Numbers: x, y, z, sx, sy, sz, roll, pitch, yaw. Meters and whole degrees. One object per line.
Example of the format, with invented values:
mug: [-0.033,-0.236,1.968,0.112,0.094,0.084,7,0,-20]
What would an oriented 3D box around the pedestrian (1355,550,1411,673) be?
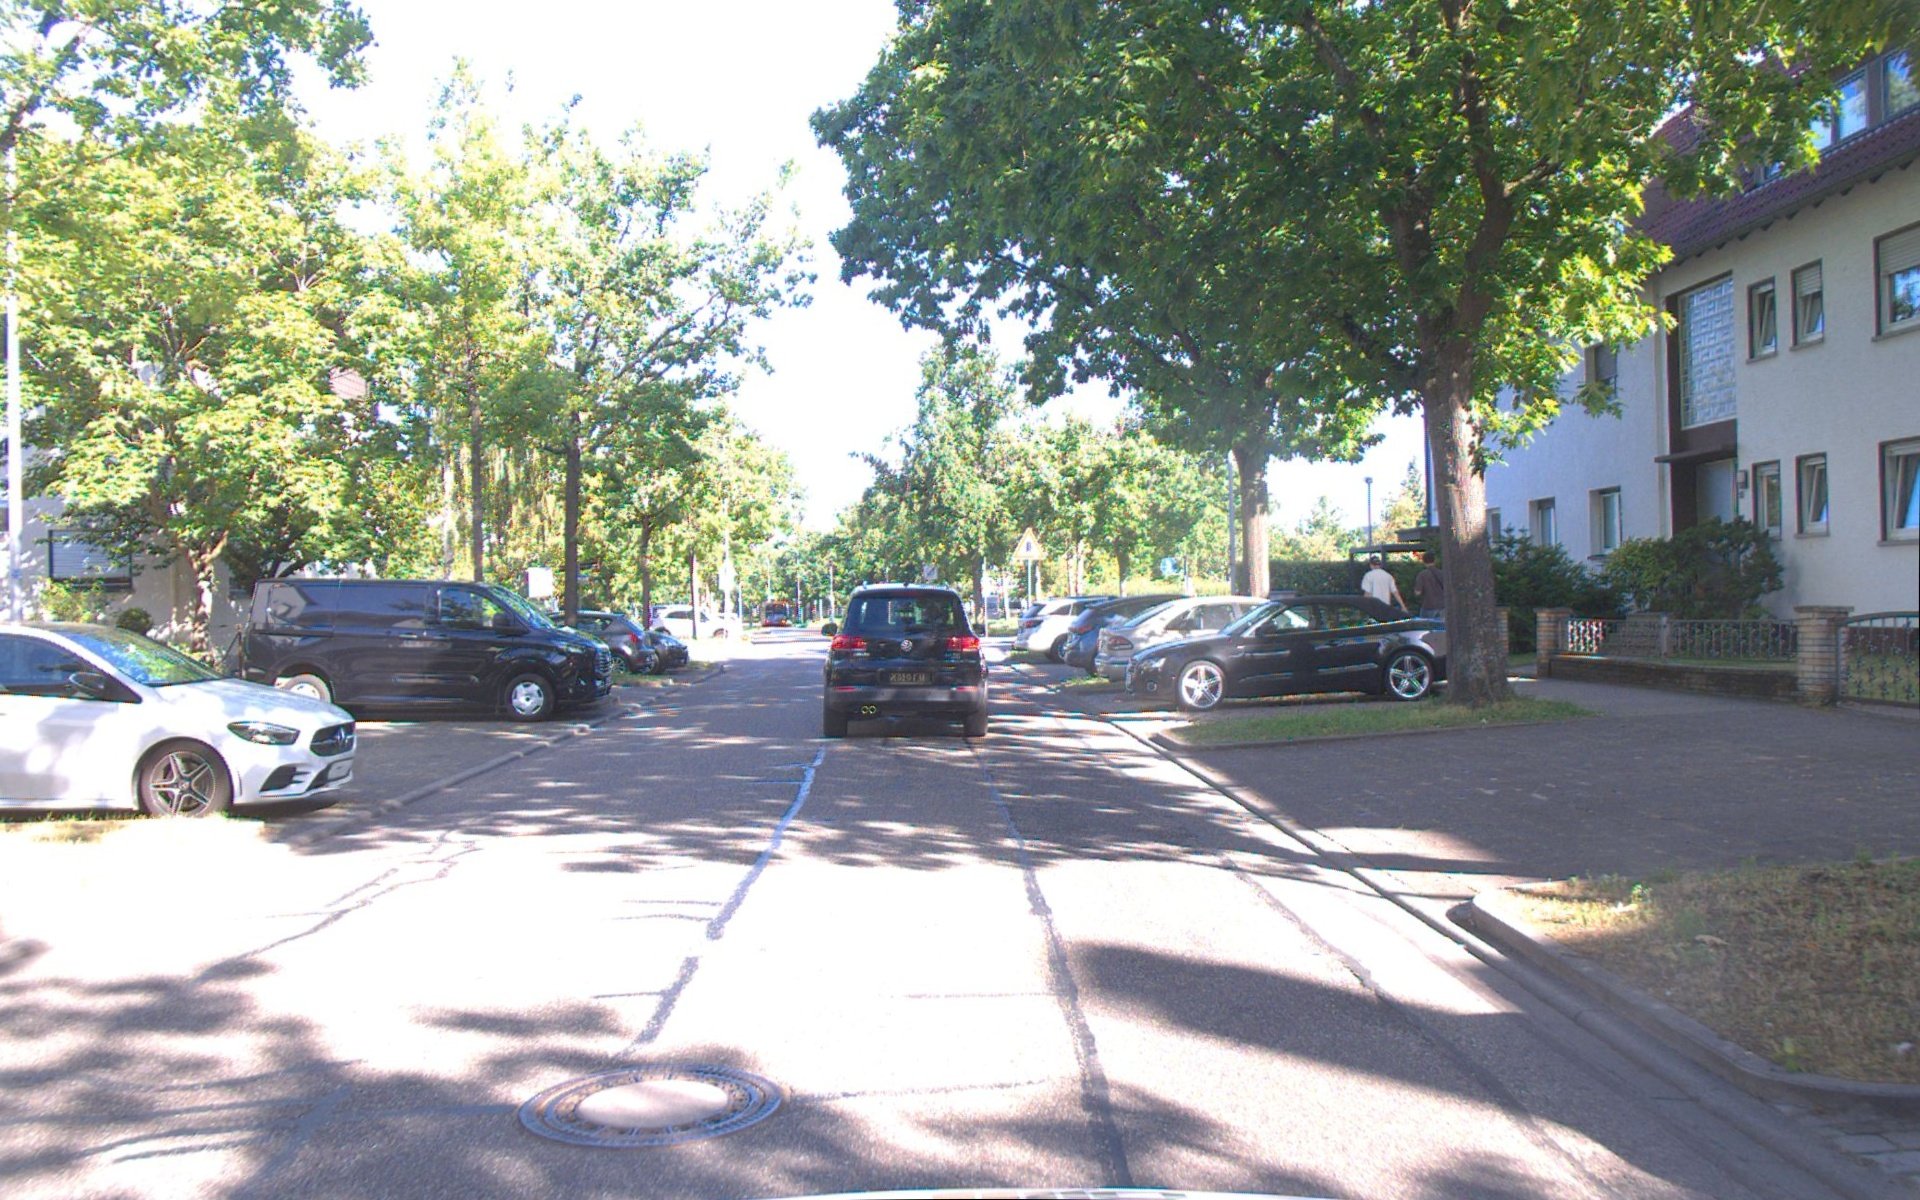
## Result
pedestrian: [6.741,0.187,26.381,0.595,1.906,0.924,-2,-1,0]

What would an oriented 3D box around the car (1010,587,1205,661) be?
car: [3.389,0.554,38.595,4.339,1.517,1.796,-2,0,-1]

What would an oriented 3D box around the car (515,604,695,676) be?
car: [-8.238,0.921,38.608,3.779,1.484,1.713,-2,0,-1]

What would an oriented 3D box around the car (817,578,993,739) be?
car: [-0.538,0.615,19.295,1.800,1.665,3.958,-1,0,1]

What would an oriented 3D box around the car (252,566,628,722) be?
car: [-7.306,0.589,23.647,4.684,1.950,2.017,-2,0,-3]

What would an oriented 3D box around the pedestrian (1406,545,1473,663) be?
pedestrian: [7.785,0.071,26.873,0.818,1.860,0.710,-2,-1,0]

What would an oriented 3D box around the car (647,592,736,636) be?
car: [-12.561,0.654,77.455,3.939,1.872,1.894,-2,0,-6]

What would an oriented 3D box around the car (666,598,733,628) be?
car: [-16.057,0.799,102.184,3.939,1.676,1.809,-2,0,-6]

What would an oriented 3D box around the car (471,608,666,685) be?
car: [-8.353,0.979,35.532,3.743,1.444,1.771,-2,0,-3]

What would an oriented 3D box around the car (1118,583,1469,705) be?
car: [4.365,0.573,22.105,4.258,1.386,1.873,-2,-1,-2]

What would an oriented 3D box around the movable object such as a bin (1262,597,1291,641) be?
movable object such as a bin: [7.801,0.464,40.780,0.523,1.063,0.699,-2,0,-3]

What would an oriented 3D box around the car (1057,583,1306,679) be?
car: [3.933,0.537,29.871,4.190,1.529,1.796,-2,0,-1]

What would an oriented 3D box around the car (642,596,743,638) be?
car: [-11.635,0.724,72.158,4.160,1.651,1.894,-2,0,-6]

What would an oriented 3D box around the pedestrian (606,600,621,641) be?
pedestrian: [-13.665,0.809,65.197,0.432,1.584,0.800,-1,0,-3]

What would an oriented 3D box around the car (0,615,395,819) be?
car: [-6.926,0.884,13.245,4.189,1.504,1.768,0,0,-1]

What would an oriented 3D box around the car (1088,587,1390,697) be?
car: [4.127,0.606,24.912,4.190,1.439,1.796,-2,0,-1]

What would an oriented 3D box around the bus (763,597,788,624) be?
bus: [-22.389,1.312,201.275,2.872,3.056,5.730,-2,-1,-5]

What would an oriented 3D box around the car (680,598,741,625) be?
car: [-17.060,0.798,113.122,3.939,1.676,1.809,-2,0,-6]
